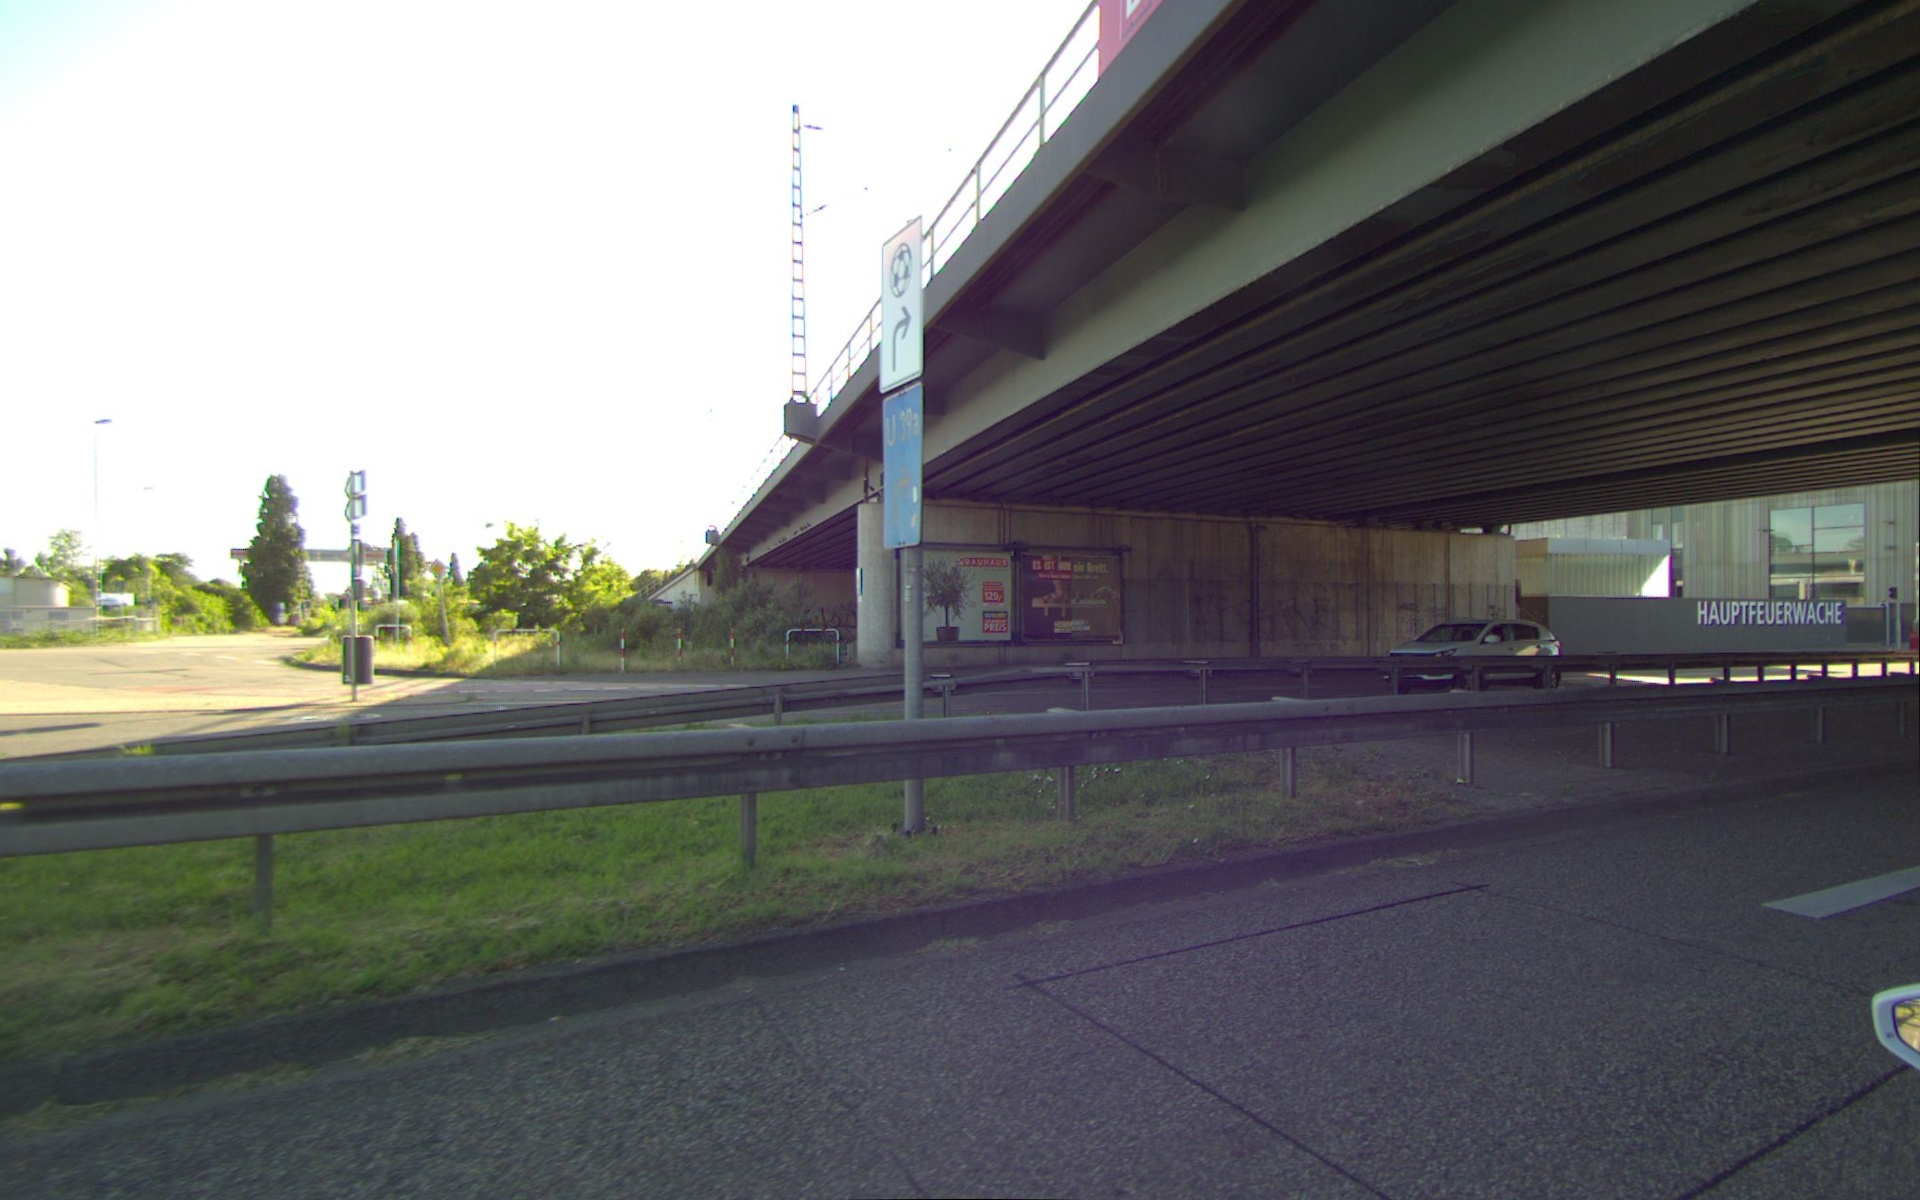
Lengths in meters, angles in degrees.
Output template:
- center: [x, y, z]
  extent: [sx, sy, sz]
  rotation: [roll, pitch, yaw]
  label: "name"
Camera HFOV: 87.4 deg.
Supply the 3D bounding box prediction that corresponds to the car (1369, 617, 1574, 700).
- center: [11.077, 1.232, 21.711]
  extent: [4.240, 1.628, 1.794]
  rotation: [2, -1, -27]
  label: "car"
